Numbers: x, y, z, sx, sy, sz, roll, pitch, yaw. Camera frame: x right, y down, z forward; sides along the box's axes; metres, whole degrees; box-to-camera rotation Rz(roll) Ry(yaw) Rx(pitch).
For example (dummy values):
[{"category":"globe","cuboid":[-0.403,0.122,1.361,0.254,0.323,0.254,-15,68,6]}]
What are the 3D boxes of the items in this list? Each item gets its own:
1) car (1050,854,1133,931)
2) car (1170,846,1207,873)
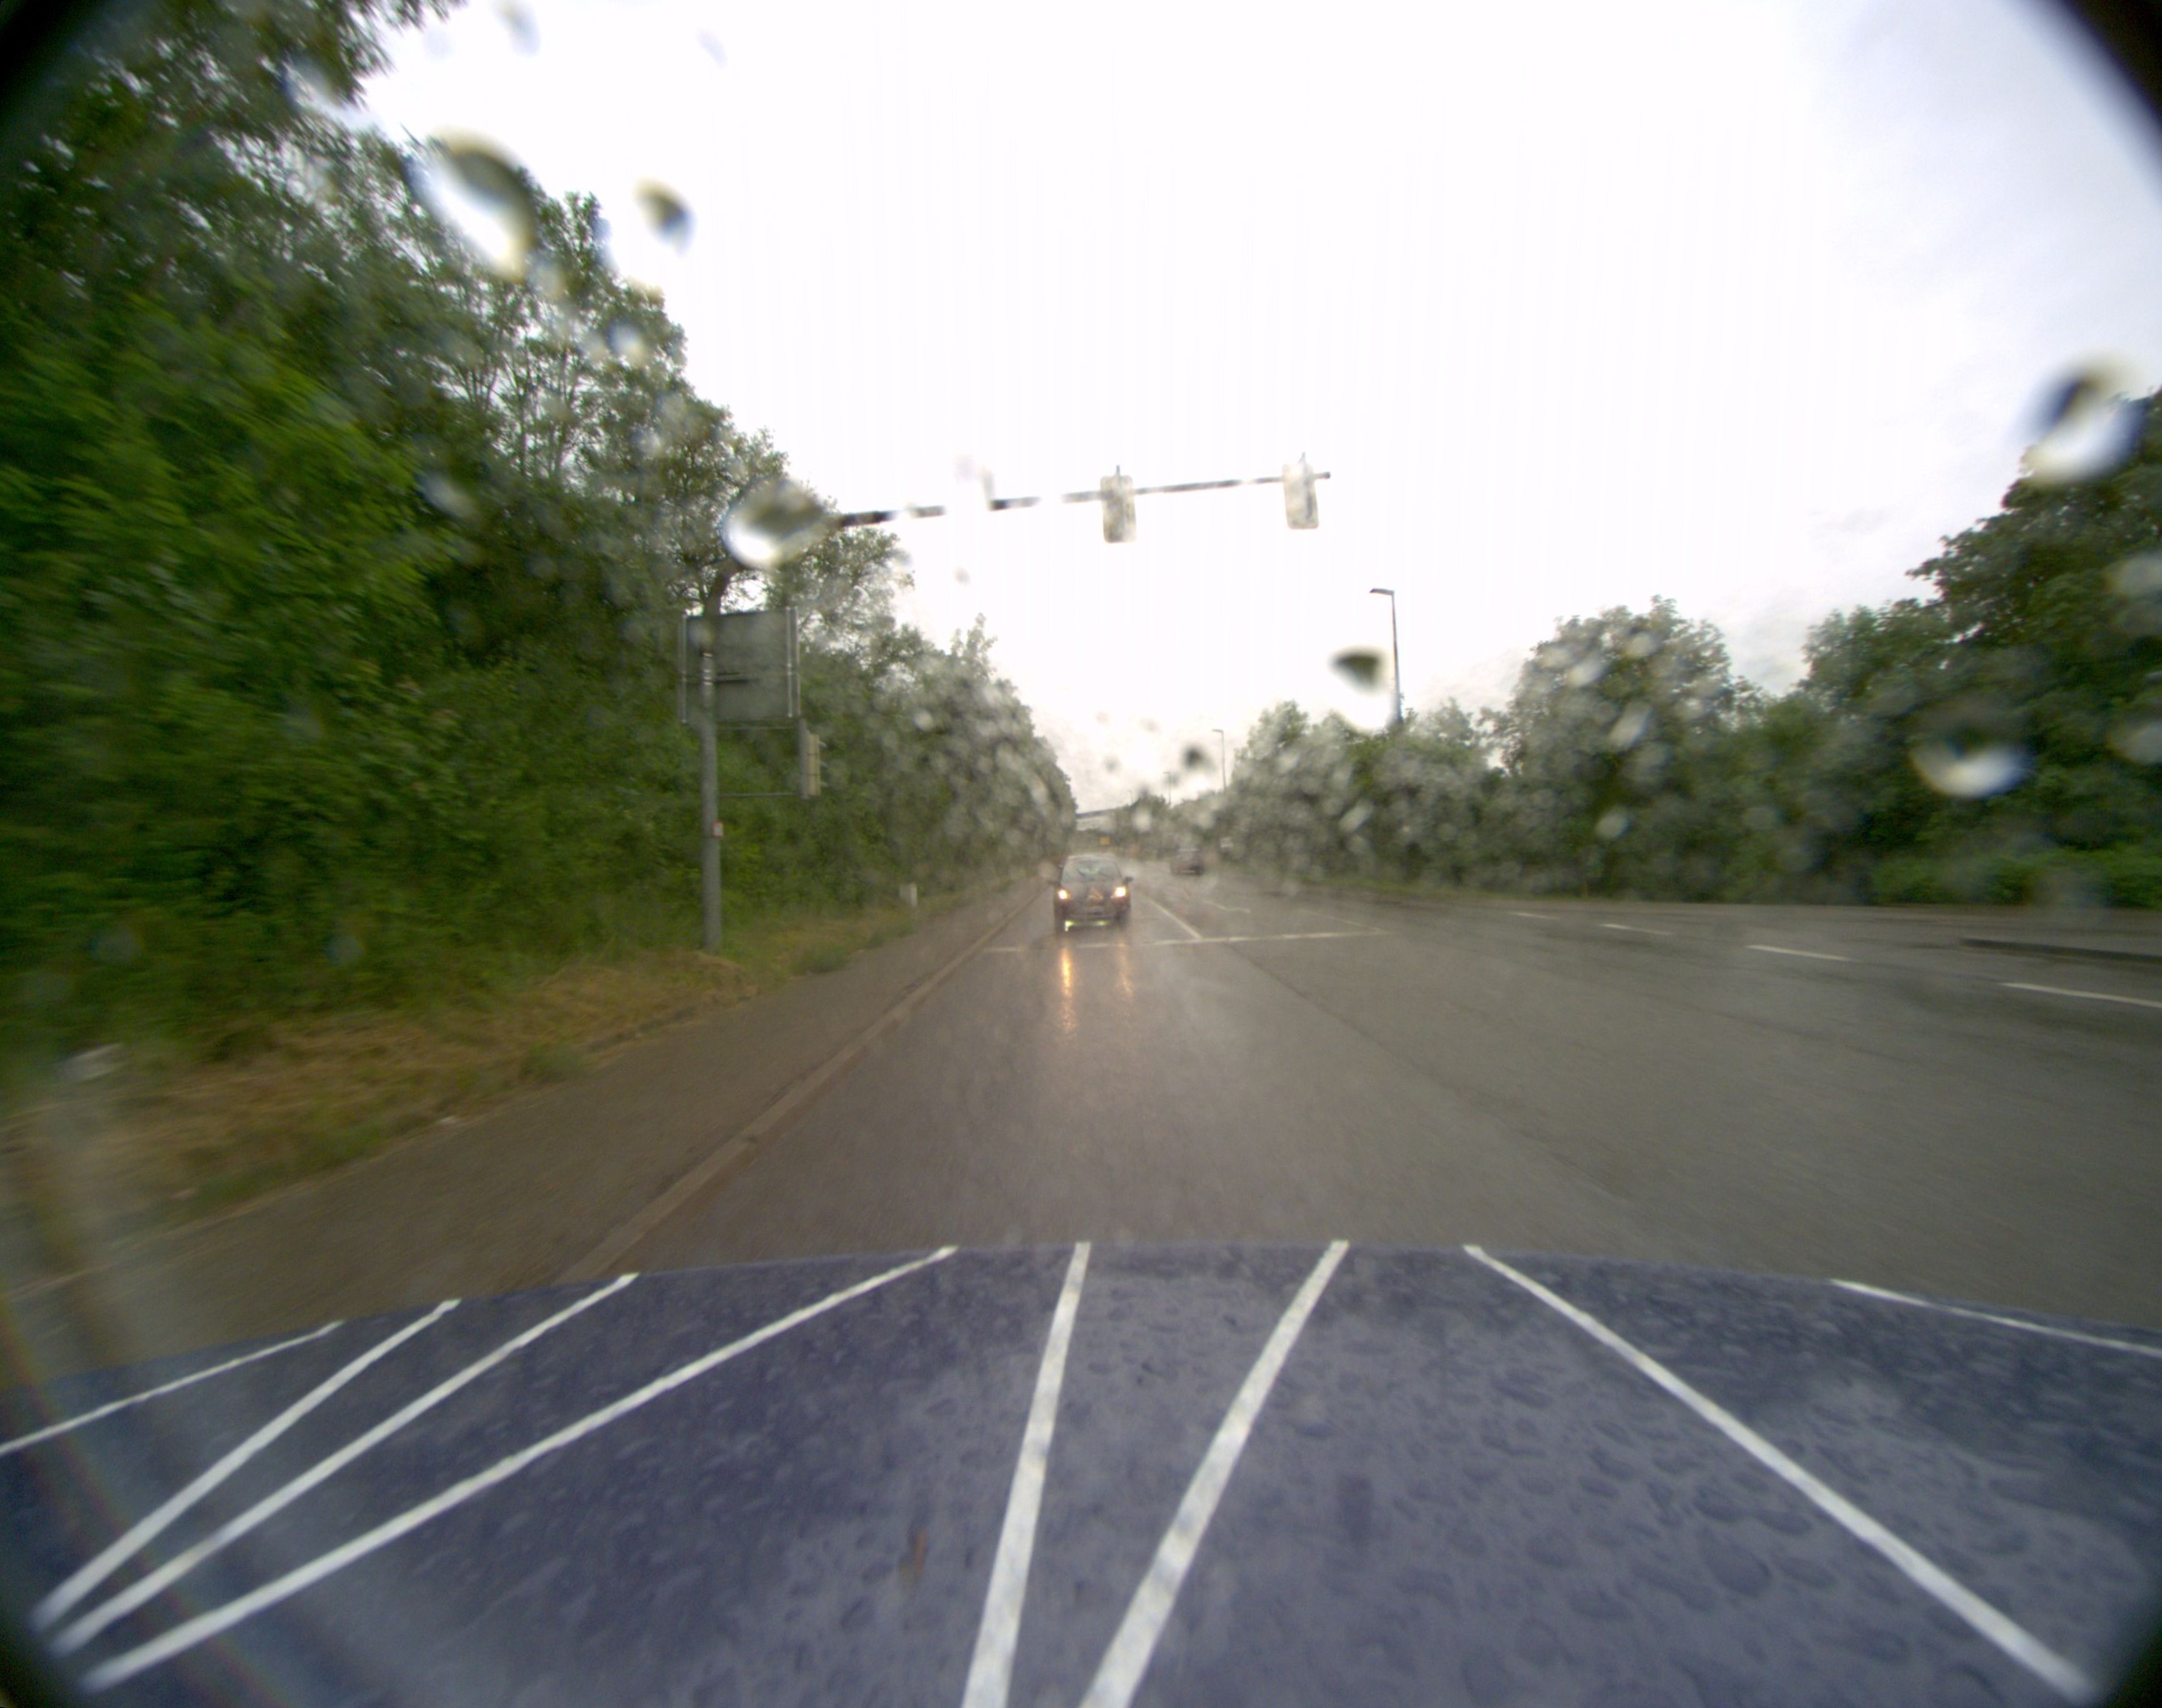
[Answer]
[{"category":"car","cuboid":[0.204,0.797,17.652,1.681,1.561,3.888,-1,0,-1]},{"category":"car","cuboid":[6.629,0.318,46.990,1.737,1.565,3.869,-1,0,0]}]
